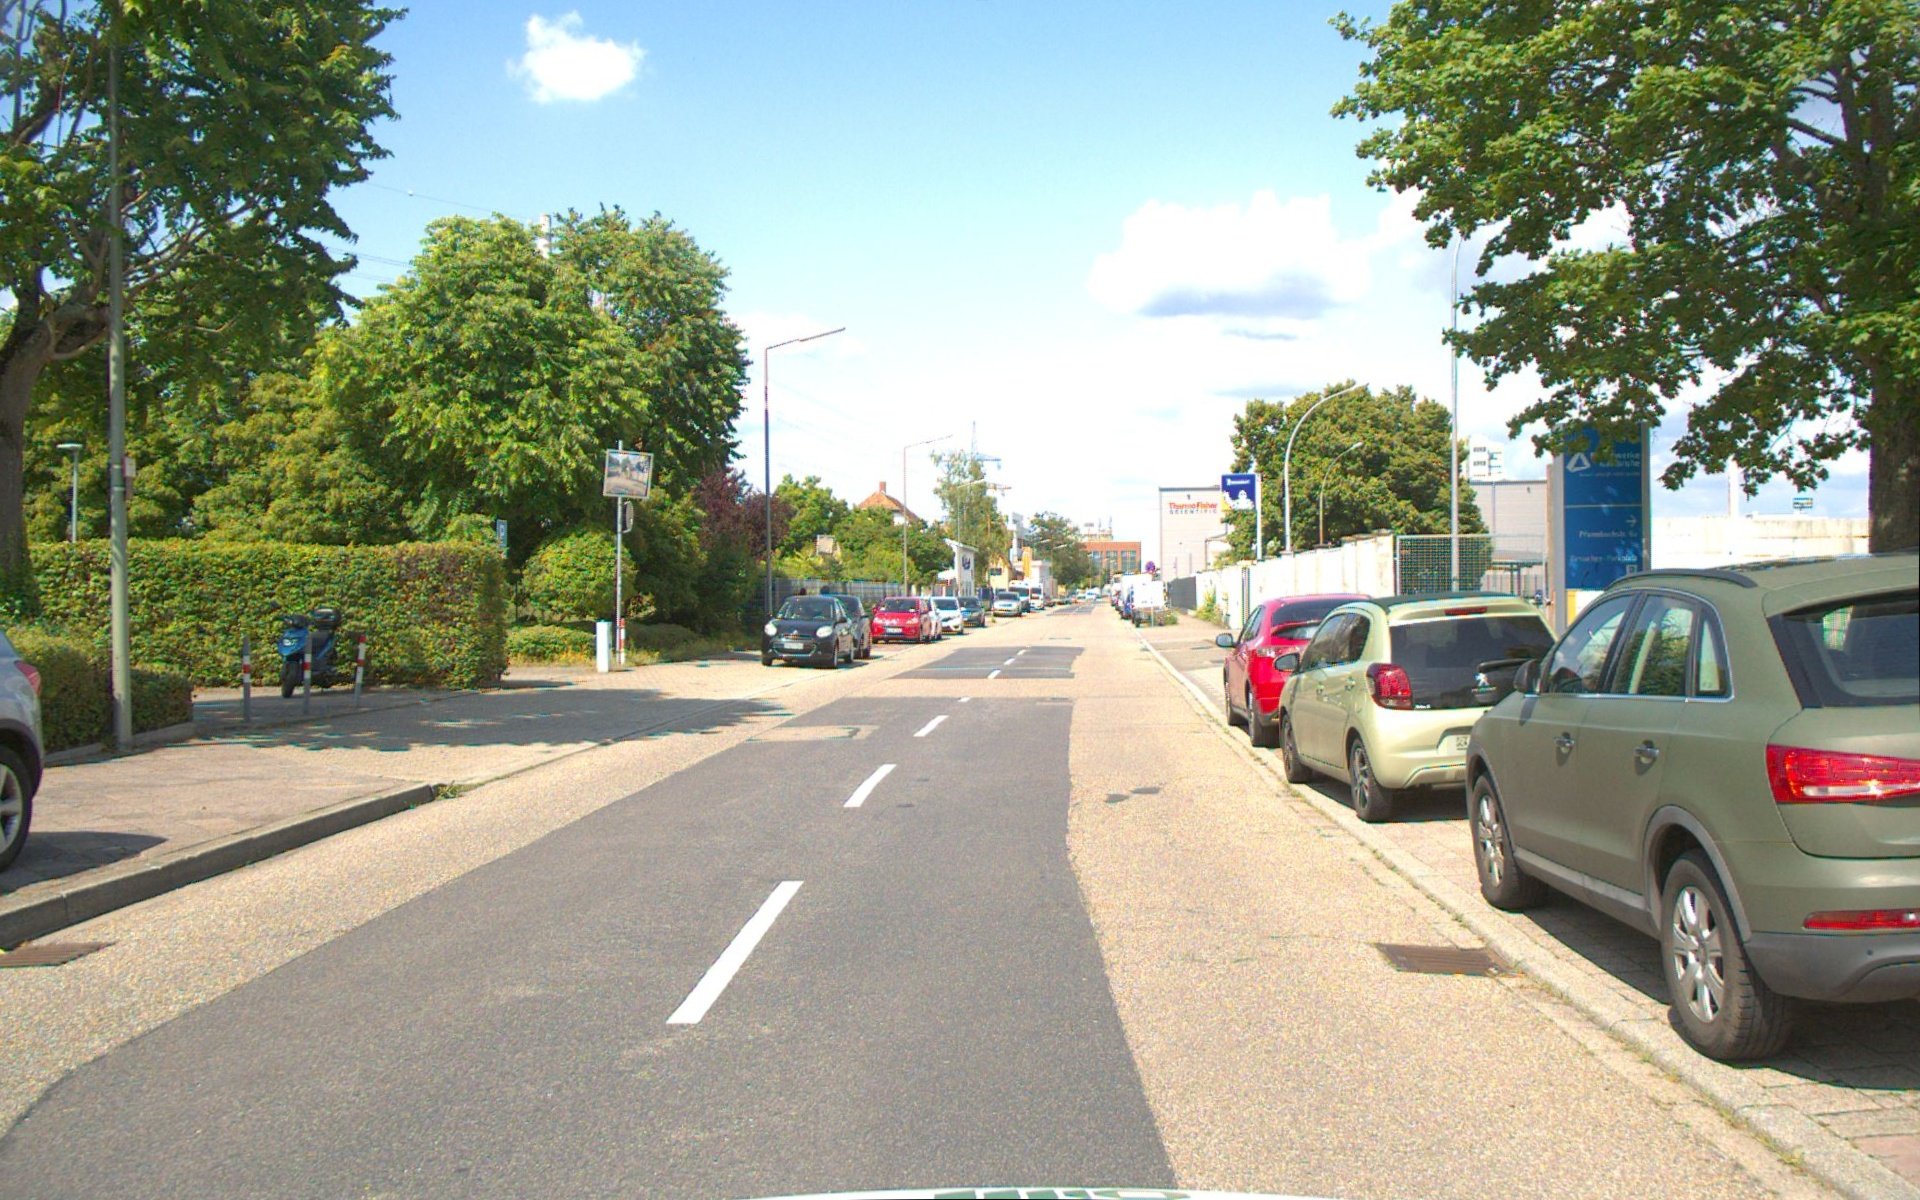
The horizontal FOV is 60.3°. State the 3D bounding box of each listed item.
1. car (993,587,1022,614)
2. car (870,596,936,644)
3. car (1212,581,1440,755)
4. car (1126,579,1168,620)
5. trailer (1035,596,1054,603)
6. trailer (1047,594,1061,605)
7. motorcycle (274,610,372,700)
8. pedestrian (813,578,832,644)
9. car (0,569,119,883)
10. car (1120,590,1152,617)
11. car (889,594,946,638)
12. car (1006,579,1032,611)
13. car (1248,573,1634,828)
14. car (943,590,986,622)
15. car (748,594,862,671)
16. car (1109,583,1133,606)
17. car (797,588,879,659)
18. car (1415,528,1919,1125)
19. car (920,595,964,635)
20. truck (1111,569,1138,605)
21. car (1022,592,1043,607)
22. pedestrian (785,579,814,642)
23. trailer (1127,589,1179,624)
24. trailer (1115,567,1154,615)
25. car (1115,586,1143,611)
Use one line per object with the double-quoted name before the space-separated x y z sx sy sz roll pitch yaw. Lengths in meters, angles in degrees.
"car" 3.346 0.029 116.573 1.753 1.749 4.754 2 0 5
"car" -1.830 0.640 53.812 1.631 1.492 3.746 1 0 6
"car" 3.759 0.637 17.658 1.717 1.512 4.227 -4 0 5
"car" 9.686 -0.024 85.791 1.951 2.049 5.653 -1 0 5
"trailer" 11.108 -0.024 216.391 2.313 0.908 5.572 1 0 5
"trailer" 13.497 -0.110 237.301 1.951 1.584 4.256 0 0 5
"motorcycle" -9.336 0.775 24.323 0.521 1.241 2.086 -1 0 3
"pedestrian" -4.111 0.327 49.339 0.441 1.927 0.678 -1 -1 5
"car" -5.785 0.640 7.349 1.721 1.601 4.478 0 0 1
"car" 10.376 0.226 97.867 1.655 1.486 4.072 -3 -1 4
"car" -1.474 0.556 58.564 1.610 1.503 4.031 -1 0 4
"car" 4.966 -0.389 139.207 1.987 2.602 6.660 1 0 3
"car" 3.436 0.651 12.565 1.665 1.512 3.806 -4 0 -1
"car" 0.259 0.272 79.151 1.767 1.443 4.498 1 0 4
"car" -3.397 0.679 36.913 1.806 1.534 4.002 2 0 5
"car" 14.565 -0.503 149.635 2.011 1.936 5.150 -4 0 6
"car" -3.038 0.559 41.782 1.616 1.674 3.275 2 0 3
"car" 3.368 0.571 6.853 1.795 1.636 4.570 -4 0 3
"car" -0.696 0.584 67.604 1.586 1.549 4.177 -1 0 2
"truck" 16.584 -1.325 167.048 2.407 3.350 6.822 -5 -1 5
"car" 6.956 -0.026 158.871 1.758 1.422 4.505 1 0 6
"pedestrian" -4.755 0.308 49.009 0.693 1.832 0.916 -1 -1 5
"trailer" 8.752 0.311 75.363 1.713 1.442 4.549 -4 -1 0
"trailer" 11.018 -0.554 104.846 2.158 2.784 6.225 -4 -1 4
"car" 12.571 -0.101 123.147 1.895 1.723 4.682 -4 0 5
